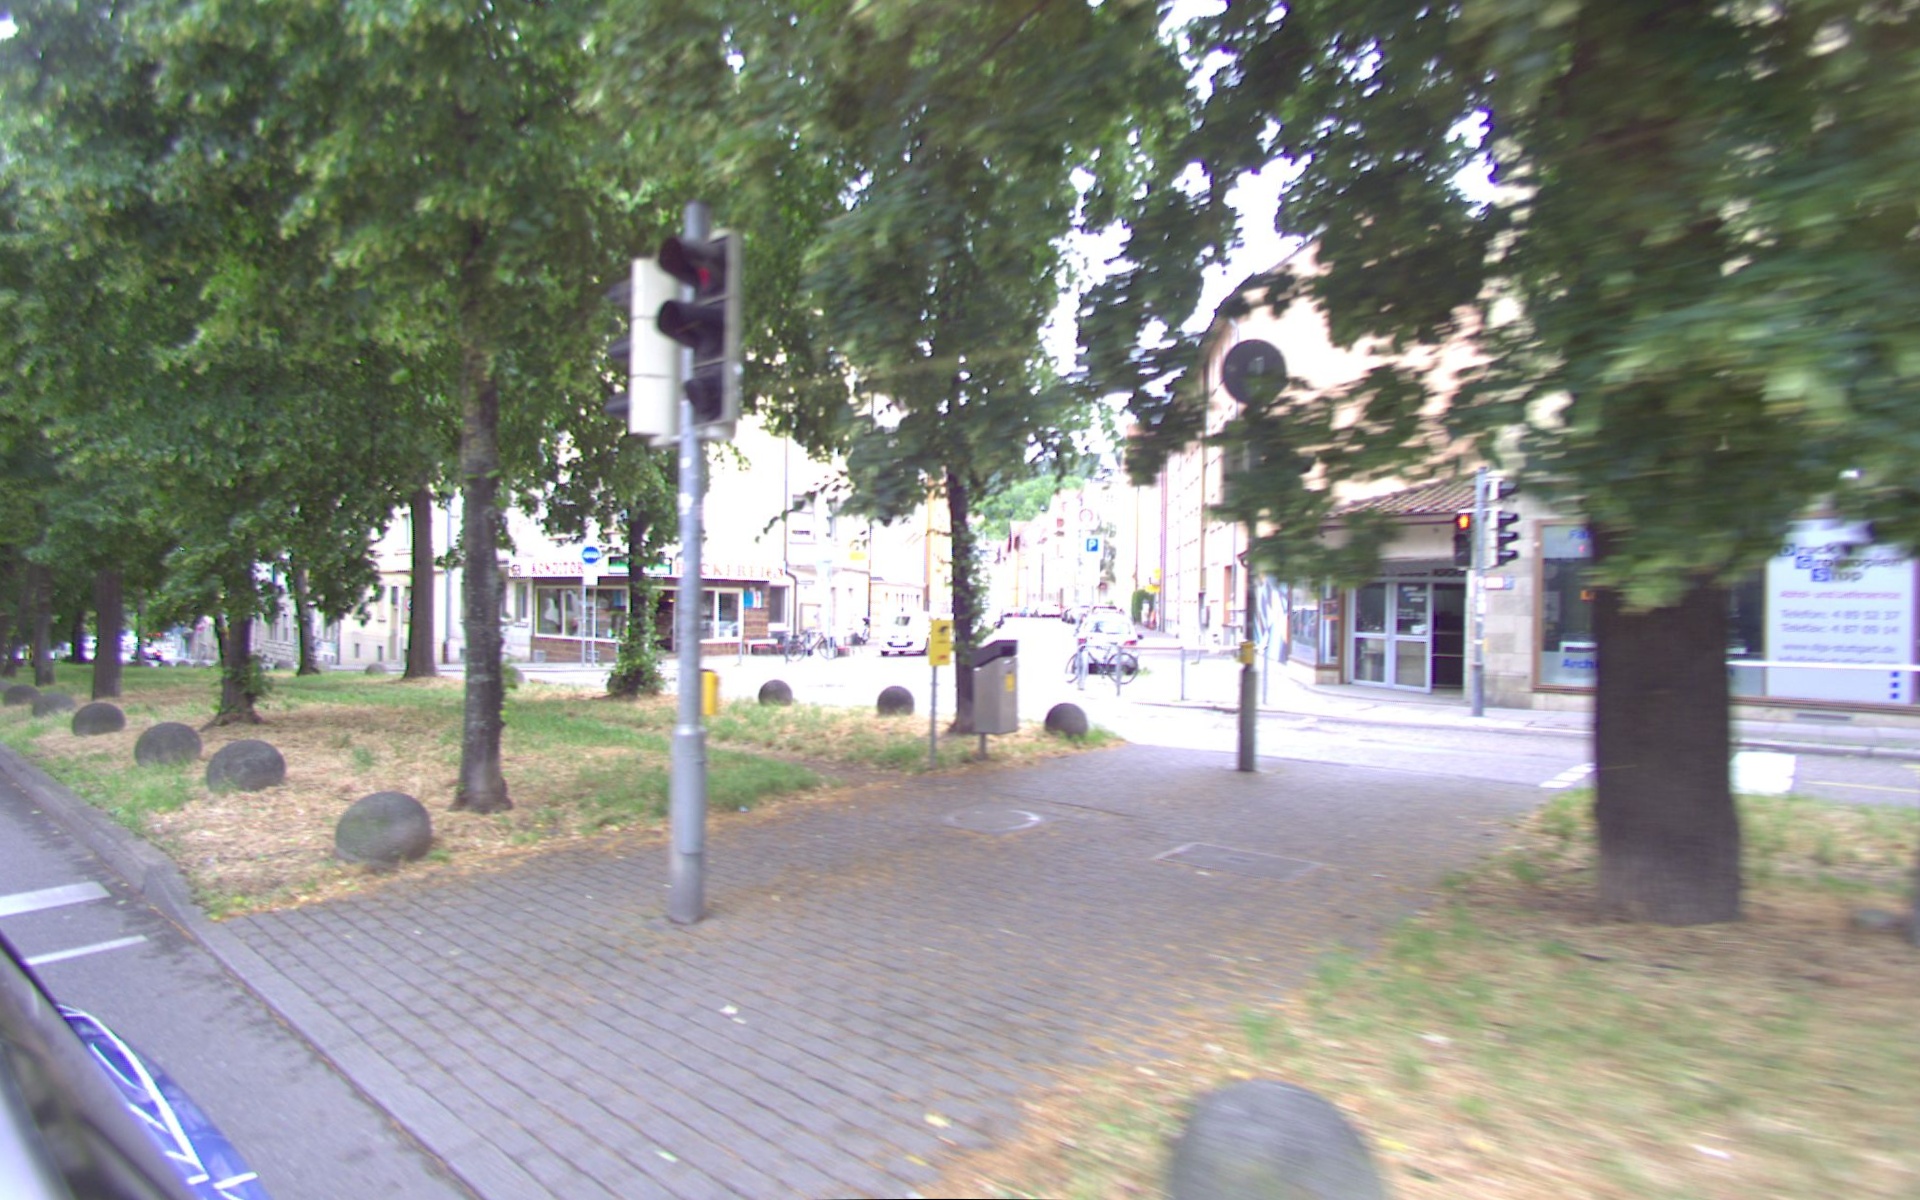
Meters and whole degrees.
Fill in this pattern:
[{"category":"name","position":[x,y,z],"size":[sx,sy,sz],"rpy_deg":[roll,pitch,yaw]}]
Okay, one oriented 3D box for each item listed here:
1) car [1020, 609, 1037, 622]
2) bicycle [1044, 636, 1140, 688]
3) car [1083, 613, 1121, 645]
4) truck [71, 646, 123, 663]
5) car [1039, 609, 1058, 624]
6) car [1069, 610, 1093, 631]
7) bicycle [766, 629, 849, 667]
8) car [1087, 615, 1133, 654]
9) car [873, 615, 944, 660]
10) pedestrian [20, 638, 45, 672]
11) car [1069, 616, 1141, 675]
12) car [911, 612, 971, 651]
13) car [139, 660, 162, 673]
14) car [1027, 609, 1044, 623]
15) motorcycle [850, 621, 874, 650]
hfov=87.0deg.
[{"category":"car","position":[8.756,1.964,129.130],"size":[1.931,1.490,3.893],"rpy_deg":[0,-2,6]},{"category":"bicycle","position":[2.948,1.374,22.639],"size":[2.021,1.093,0.759],"rpy_deg":[-1,0,20]},{"category":"car","position":[6.993,1.431,49.638],"size":[1.775,1.490,3.888],"rpy_deg":[0,-2,9]},{"category":"truck","position":[-147.828,9.320,173.463],"size":[2.746,2.744,6.425],"rpy_deg":[-2,-3,14]},{"category":"car","position":[9.464,1.810,108.257],"size":[1.931,1.490,3.893],"rpy_deg":[0,-2,6]},{"category":"car","position":[9.422,1.620,79.051],"size":[1.773,1.490,3.893],"rpy_deg":[0,-2,6]},{"category":"bicycle","position":[-4.787,1.485,31.746],"size":[2.417,1.054,0.871],"rpy_deg":[-2,0,-21]},{"category":"car","position":[6.085,1.398,41.011],"size":[1.775,1.490,3.888],"rpy_deg":[0,-2,9]},{"category":"car","position":[-1.788,1.332,36.375],"size":[1.801,1.523,3.755],"rpy_deg":[0,-2,9]},{"category":"pedestrian","position":[-48.186,2.870,52.576],"size":[0.823,1.725,1.124],"rpy_deg":[5,-4,-41]},{"category":"car","position":[4.001,1.298,27.801],"size":[1.801,1.490,4.029],"rpy_deg":[0,-4,9]},{"category":"car","position":[-0.710,1.275,41.004],"size":[1.801,1.523,3.755],"rpy_deg":[0,-2,9]},{"category":"car","position":[-87.384,7.174,109.288],"size":[1.736,1.393,4.675],"rpy_deg":[3,-5,-41]},{"category":"car","position":[8.944,1.898,120.136],"size":[1.931,1.490,3.893],"rpy_deg":[0,-2,6]},{"category":"motorcycle","position":[-4.173,1.492,43.243],"size":[0.523,1.165,2.522],"rpy_deg":[-1,0,7]}]
